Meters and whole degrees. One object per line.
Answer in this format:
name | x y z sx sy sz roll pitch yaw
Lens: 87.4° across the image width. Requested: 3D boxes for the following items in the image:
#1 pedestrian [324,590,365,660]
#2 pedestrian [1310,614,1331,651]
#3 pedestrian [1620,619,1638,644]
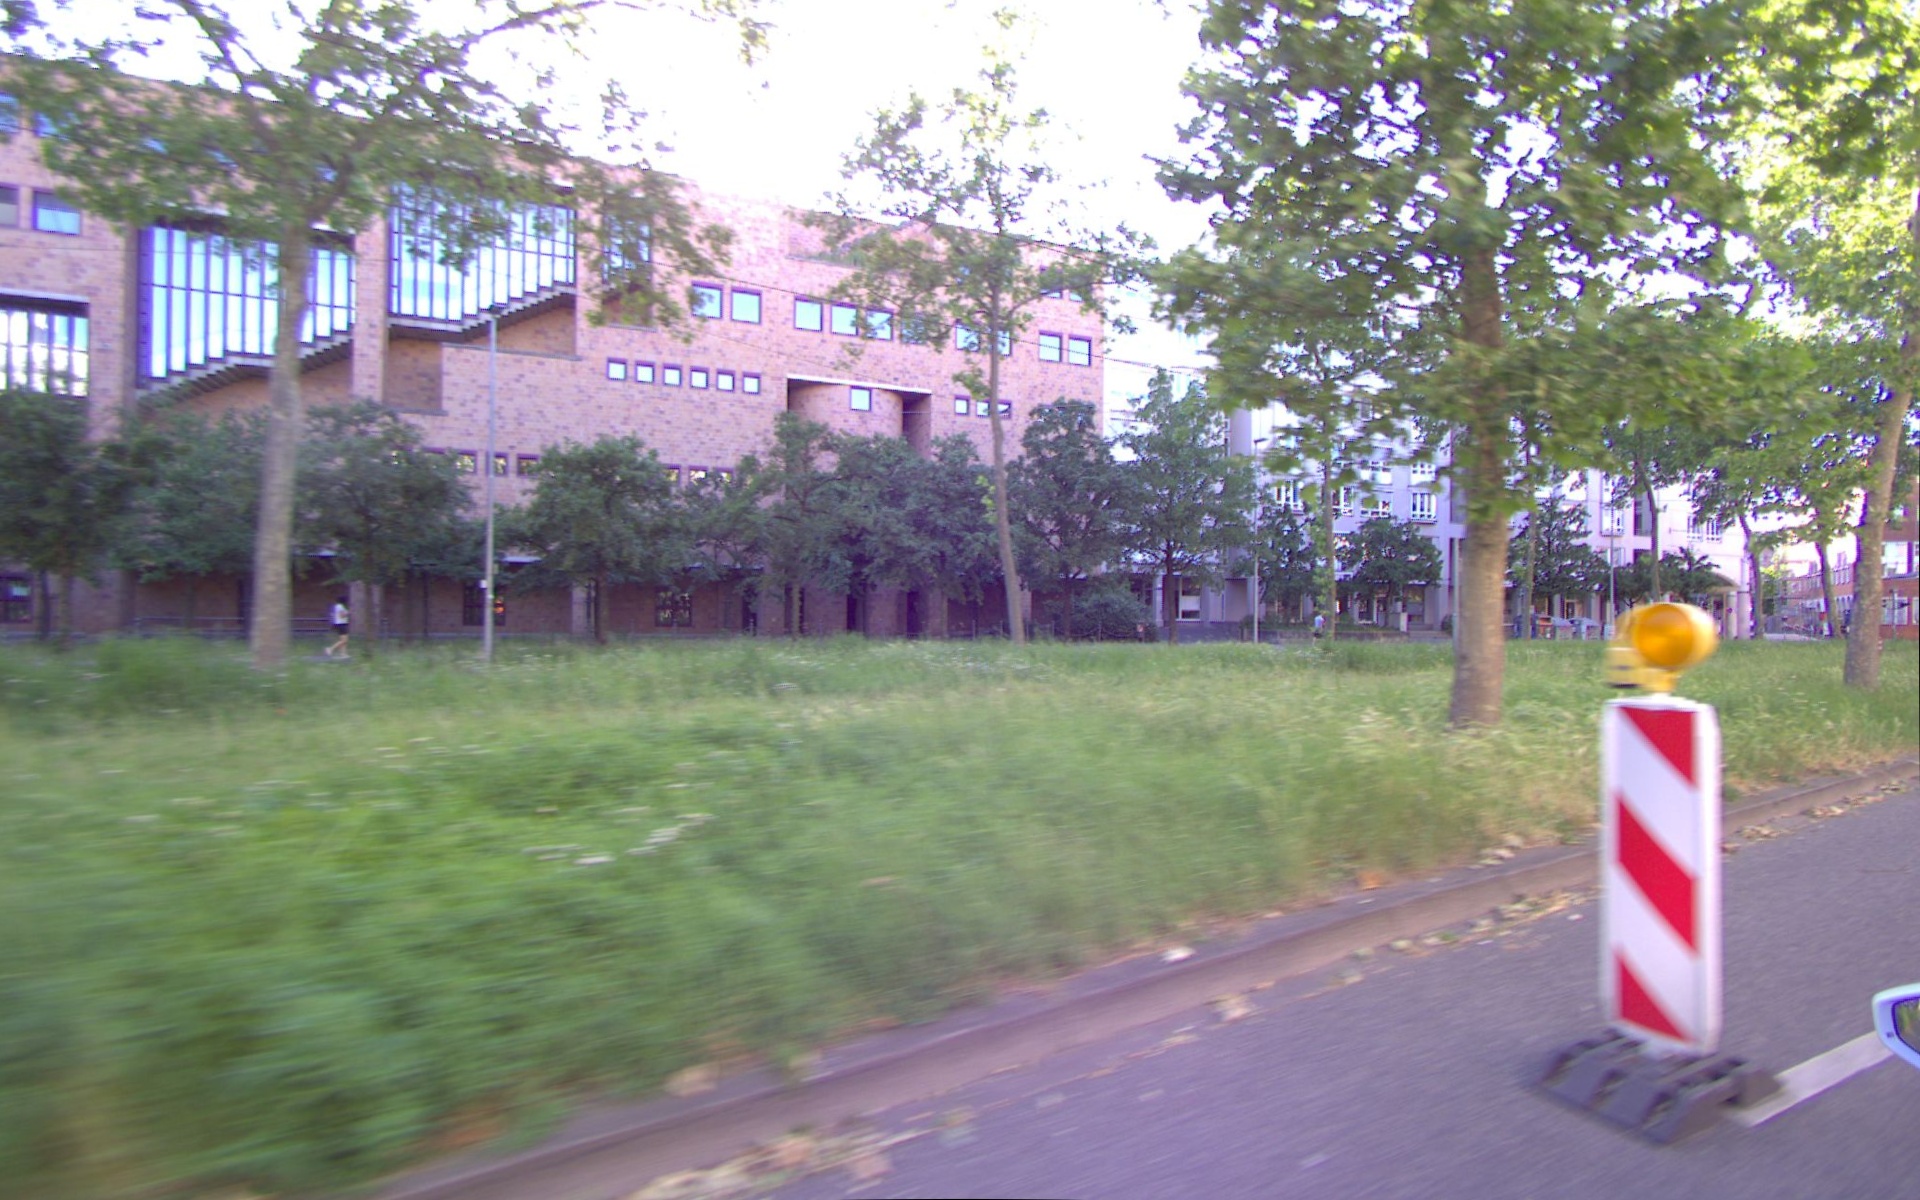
pedestrian | -16.623 0.674 27.123 0.891 1.856 0.819 1 0 -33
pedestrian | 17.205 1.559 47.959 0.640 1.763 0.725 1 0 -30
pedestrian | 44.829 2.127 67.289 0.777 1.660 0.705 1 0 -23
